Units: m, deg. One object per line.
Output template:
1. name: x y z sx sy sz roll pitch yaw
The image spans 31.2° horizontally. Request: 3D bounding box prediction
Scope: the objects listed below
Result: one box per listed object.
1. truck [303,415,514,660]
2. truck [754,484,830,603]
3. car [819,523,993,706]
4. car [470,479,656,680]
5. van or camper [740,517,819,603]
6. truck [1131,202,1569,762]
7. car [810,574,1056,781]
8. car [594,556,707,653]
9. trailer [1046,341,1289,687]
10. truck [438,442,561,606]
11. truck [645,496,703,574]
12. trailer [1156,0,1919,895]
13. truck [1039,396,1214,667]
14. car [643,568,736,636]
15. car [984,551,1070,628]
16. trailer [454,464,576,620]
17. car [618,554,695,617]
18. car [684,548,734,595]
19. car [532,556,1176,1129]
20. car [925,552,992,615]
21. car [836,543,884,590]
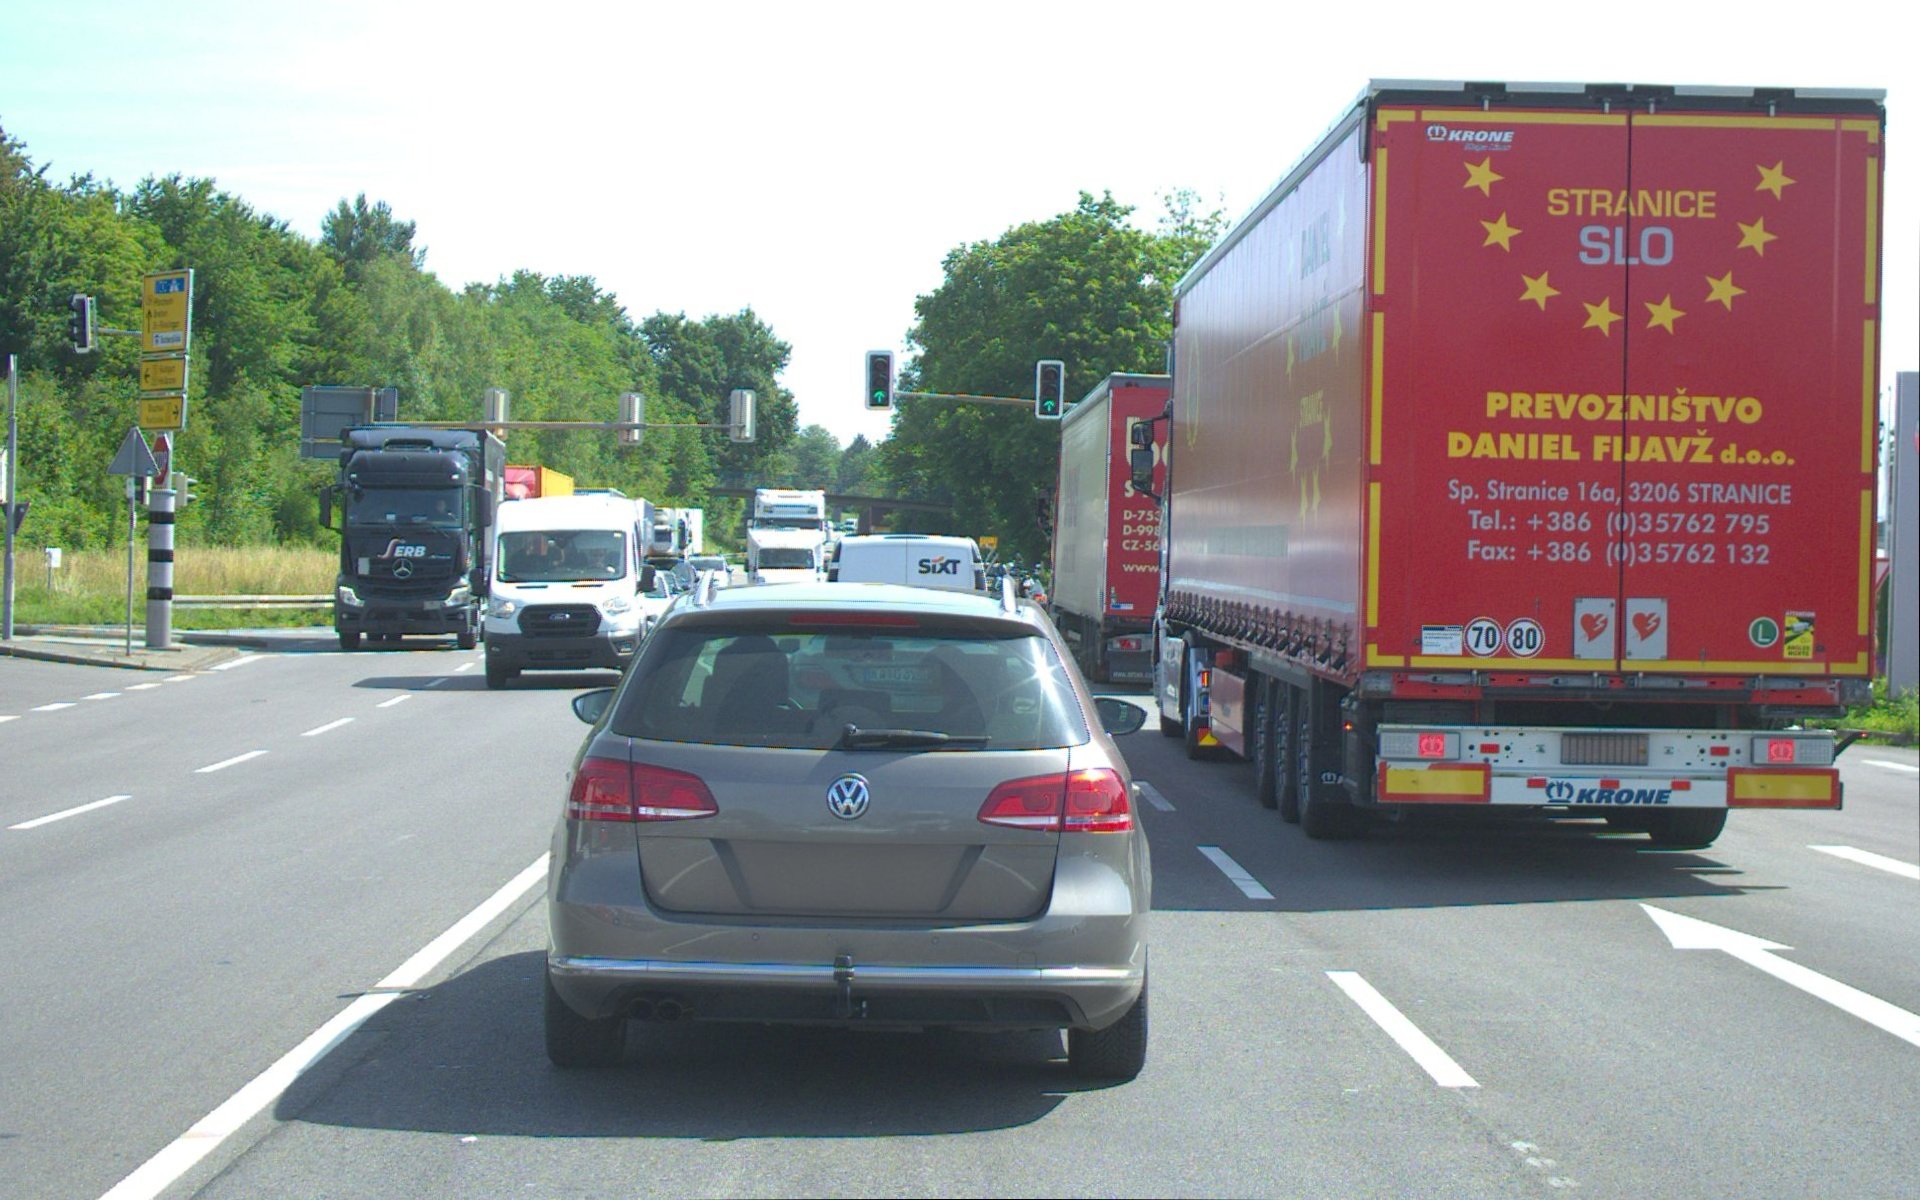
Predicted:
1. truck: -9.718 -1.074 61.542 2.710 3.984 9.977 1 1 -3
2. truck: -6.002 -1.981 122.179 2.536 4.074 6.267 1 1 -4
3. car: -0.655 0.138 38.606 1.770 1.930 3.978 1 1 -3
4. car: -5.305 -0.294 46.774 2.058 2.501 7.115 1 1 -3
5. van or camper: -5.663 -1.251 108.551 2.330 2.591 6.979 1 1 -2
6. truck: 3.211 -0.956 29.954 2.870 4.266 5.839 3 0 -1
7. car: -0.289 0.563 27.616 1.770 1.508 4.001 1 1 -3
8. car: -5.183 0.053 57.950 1.653 1.550 4.000 -1 1 -2
9. trailer: 2.715 -1.121 48.877 2.395 4.229 13.078 1 1 -1
10. truck: -11.608 -1.891 87.140 2.720 3.984 6.058 1 0 -5
11. truck: -15.181 -3.418 182.799 2.728 3.985 9.621 1 1 -3
12. trailer: 3.250 -0.861 23.396 2.839 4.350 13.168 3 1 0
13. truck: 2.621 -1.077 55.514 2.406 4.113 5.521 1 0 -1
14. car: -6.017 0.025 76.963 1.711 1.439 4.379 -1 1 0
15. car: 1.780 -0.298 92.339 1.993 2.007 4.001 1 1 -3
16. trailer: -12.180 -1.571 94.980 2.720 3.984 12.237 1 1 -5
17. car: -8.217 -0.416 93.455 1.908 1.597 4.589 -1 1 -3
18. car: -10.052 -1.167 137.914 1.843 1.726 4.589 3 1 -3
19. car: -0.388 0.628 11.131 1.691 1.508 4.001 1 1 -3
20. car: -0.071 -0.562 112.841 1.993 2.007 4.001 1 1 -3
21. car: -4.436 -1.479 152.382 1.993 2.007 4.001 1 1 -3
